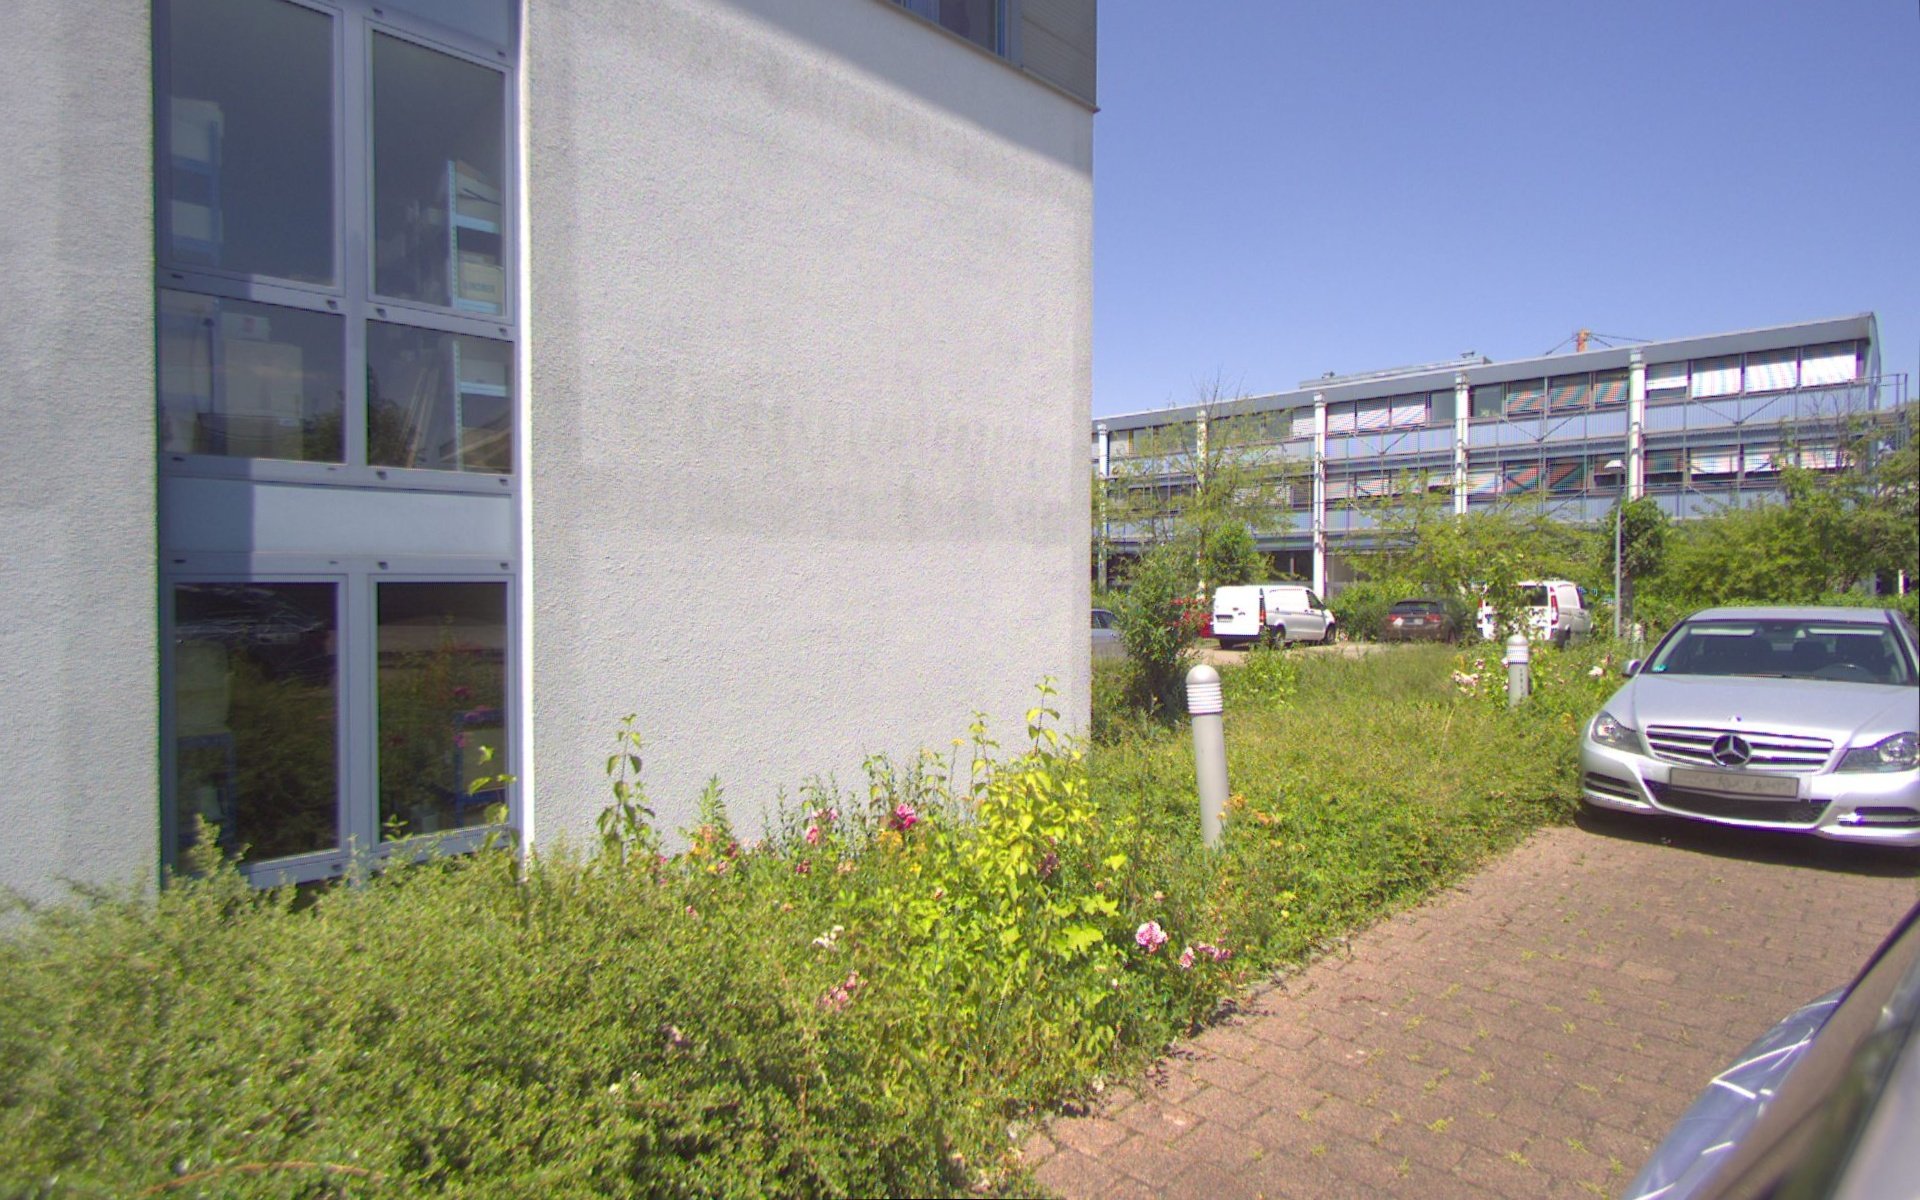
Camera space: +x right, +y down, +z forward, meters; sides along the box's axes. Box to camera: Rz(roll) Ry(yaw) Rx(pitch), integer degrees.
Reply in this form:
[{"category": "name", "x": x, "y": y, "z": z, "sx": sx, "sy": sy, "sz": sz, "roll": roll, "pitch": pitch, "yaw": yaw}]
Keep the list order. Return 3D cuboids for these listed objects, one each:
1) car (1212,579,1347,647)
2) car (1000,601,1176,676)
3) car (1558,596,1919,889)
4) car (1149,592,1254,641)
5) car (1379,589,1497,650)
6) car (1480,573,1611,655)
[{"category": "car", "x": 9.773, "y": 0.327, "z": 30.753, "sx": 4.855, "sy": 1.879, "sz": 1.851, "roll": -1, "pitch": 0, "yaw": -45}, {"category": "car", "x": 3.055, "y": 0.820, "z": 23.531, "sx": 1.850, "sy": 1.539, "sz": 4.358, "roll": -1, "pitch": 0, "yaw": 43}, {"category": "car", "x": 5.899, "y": 0.706, "z": 7.102, "sx": 4.346, "sy": 1.415, "sz": 1.801, "roll": -1, "pitch": 1, "yaw": -43}, {"category": "car", "x": 8.115, "y": 0.516, "z": 33.863, "sx": 3.858, "sy": 1.507, "sz": 1.620, "roll": -1, "pitch": 0, "yaw": -45}, {"category": "car", "x": 13.204, "y": 0.484, "z": 27.845, "sx": 1.733, "sy": 1.503, "sz": 4.133, "roll": -1, "pitch": 0, "yaw": 43}, {"category": "car", "x": 14.902, "y": 0.289, "z": 25.640, "sx": 1.862, "sy": 1.883, "sz": 4.605, "roll": -1, "pitch": 0, "yaw": 43}]
